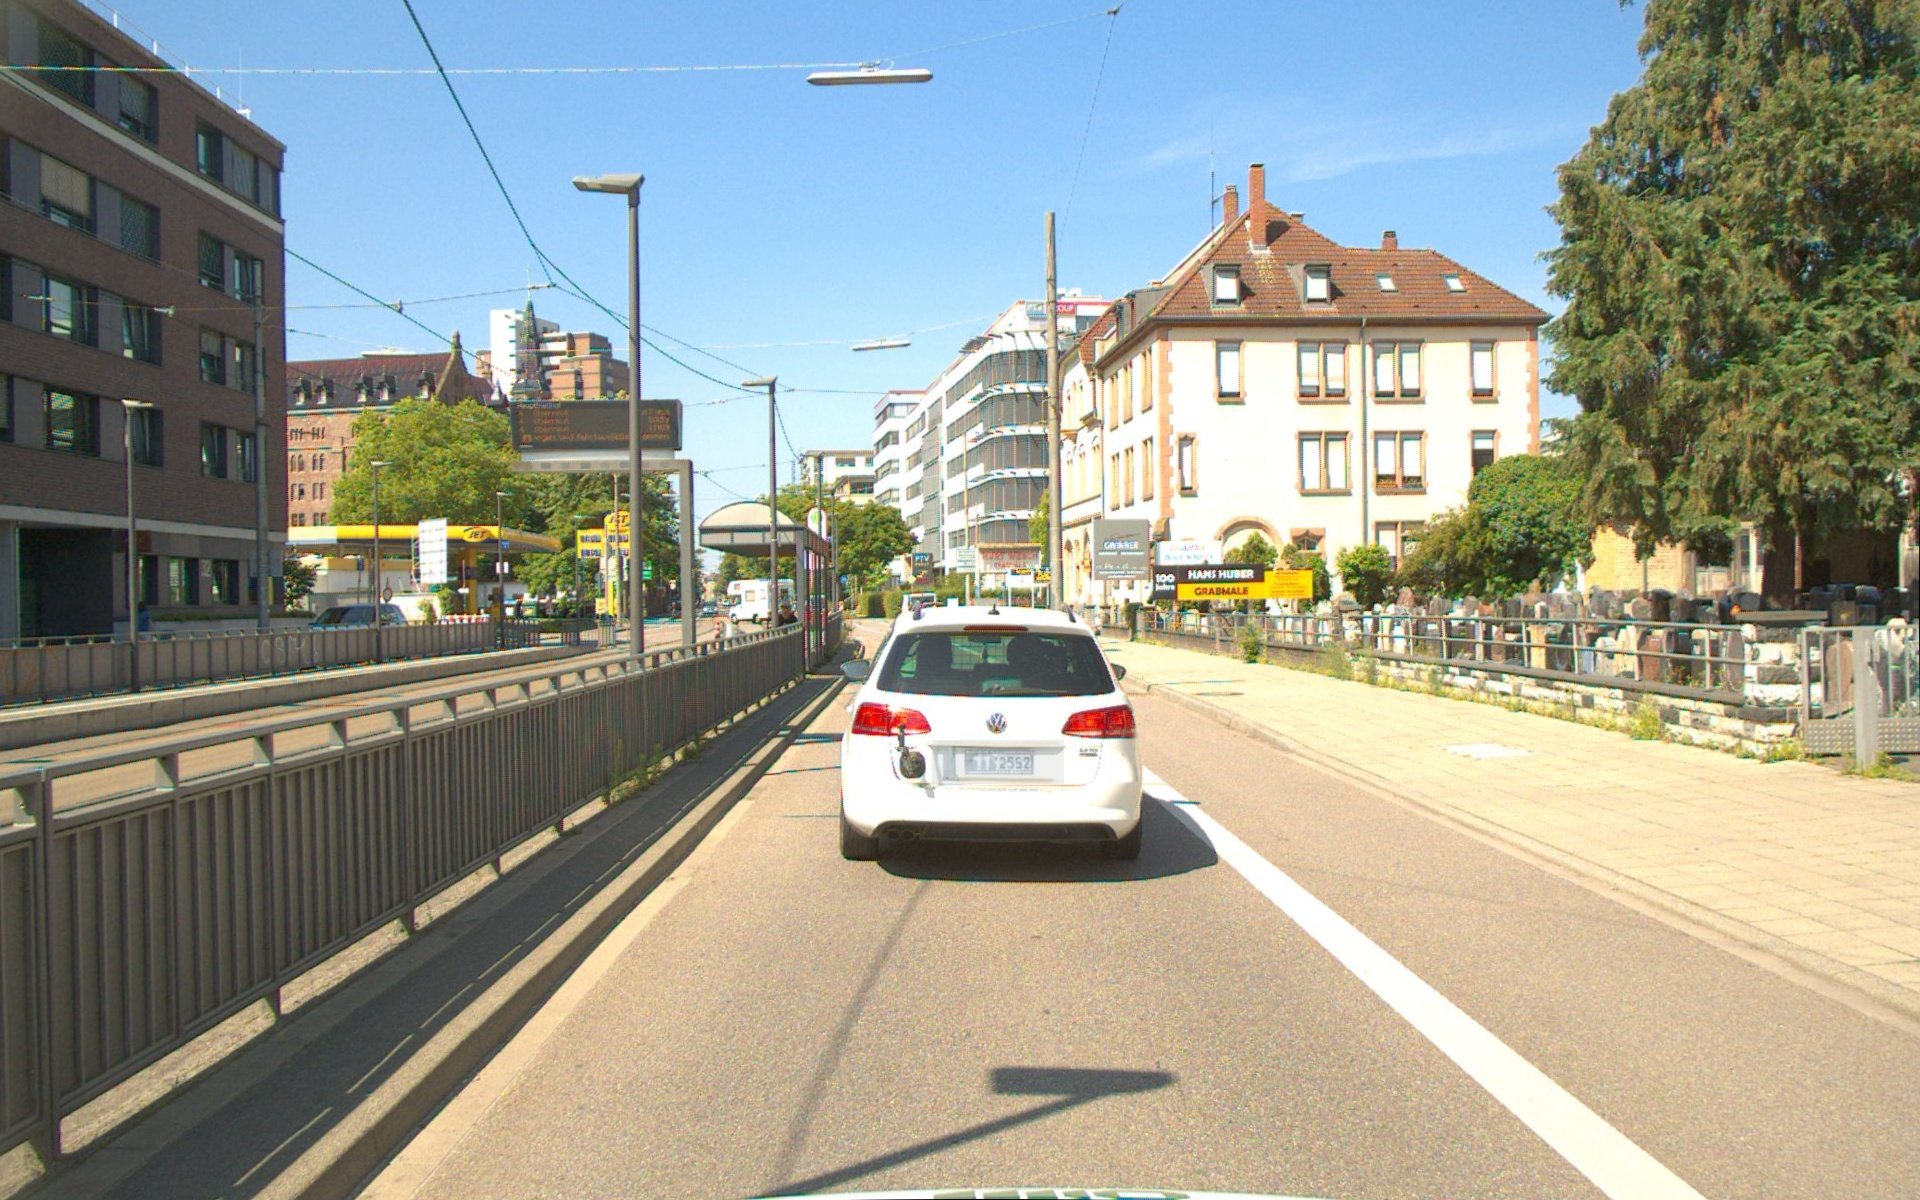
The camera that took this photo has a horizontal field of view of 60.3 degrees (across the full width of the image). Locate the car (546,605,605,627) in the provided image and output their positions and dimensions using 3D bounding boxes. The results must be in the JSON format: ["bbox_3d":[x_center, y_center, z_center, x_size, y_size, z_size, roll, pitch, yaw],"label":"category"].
[{"bbox_3d":[-30.814,1.286,132.613,1.910,1.653,4.562,-1,0,35],"label":"car"}]

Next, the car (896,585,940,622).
[{"bbox_3d":[-2.515,0.217,98.408,1.940,2.090,5.181,-3,0,-8],"label":"car"}]

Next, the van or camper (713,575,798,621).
[{"bbox_3d":[-14.175,-0.140,114.169,2.592,3.019,6.616,3,-1,-40],"label":"van or camper"}]

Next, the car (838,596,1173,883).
[{"bbox_3d":[0.164,0.719,10.713,1.718,1.467,4.411,0,0,-2],"label":"car"}]

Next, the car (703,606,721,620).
[{"bbox_3d":[-29.009,1.530,193.755,1.711,1.598,3.888,-2,-1,-4],"label":"car"}]

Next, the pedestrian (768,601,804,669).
[{"bbox_3d":[-3.362,0.674,31.965,0.617,1.277,0.709,-2,0,-2],"label":"pedestrian"}]

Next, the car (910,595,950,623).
[{"bbox_3d":[-1.684,0.507,92.175,1.690,1.468,4.304,-3,0,-8],"label":"car"}]

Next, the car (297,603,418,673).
[{"bbox_3d":[-16.131,0.976,44.481,1.764,1.759,4.188,1,0,-1],"label":"car"}]

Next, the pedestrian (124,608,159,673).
[{"bbox_3d":[-21.766,1.071,44.004,0.569,1.693,0.699,-1,0,-3],"label":"pedestrian"}]
